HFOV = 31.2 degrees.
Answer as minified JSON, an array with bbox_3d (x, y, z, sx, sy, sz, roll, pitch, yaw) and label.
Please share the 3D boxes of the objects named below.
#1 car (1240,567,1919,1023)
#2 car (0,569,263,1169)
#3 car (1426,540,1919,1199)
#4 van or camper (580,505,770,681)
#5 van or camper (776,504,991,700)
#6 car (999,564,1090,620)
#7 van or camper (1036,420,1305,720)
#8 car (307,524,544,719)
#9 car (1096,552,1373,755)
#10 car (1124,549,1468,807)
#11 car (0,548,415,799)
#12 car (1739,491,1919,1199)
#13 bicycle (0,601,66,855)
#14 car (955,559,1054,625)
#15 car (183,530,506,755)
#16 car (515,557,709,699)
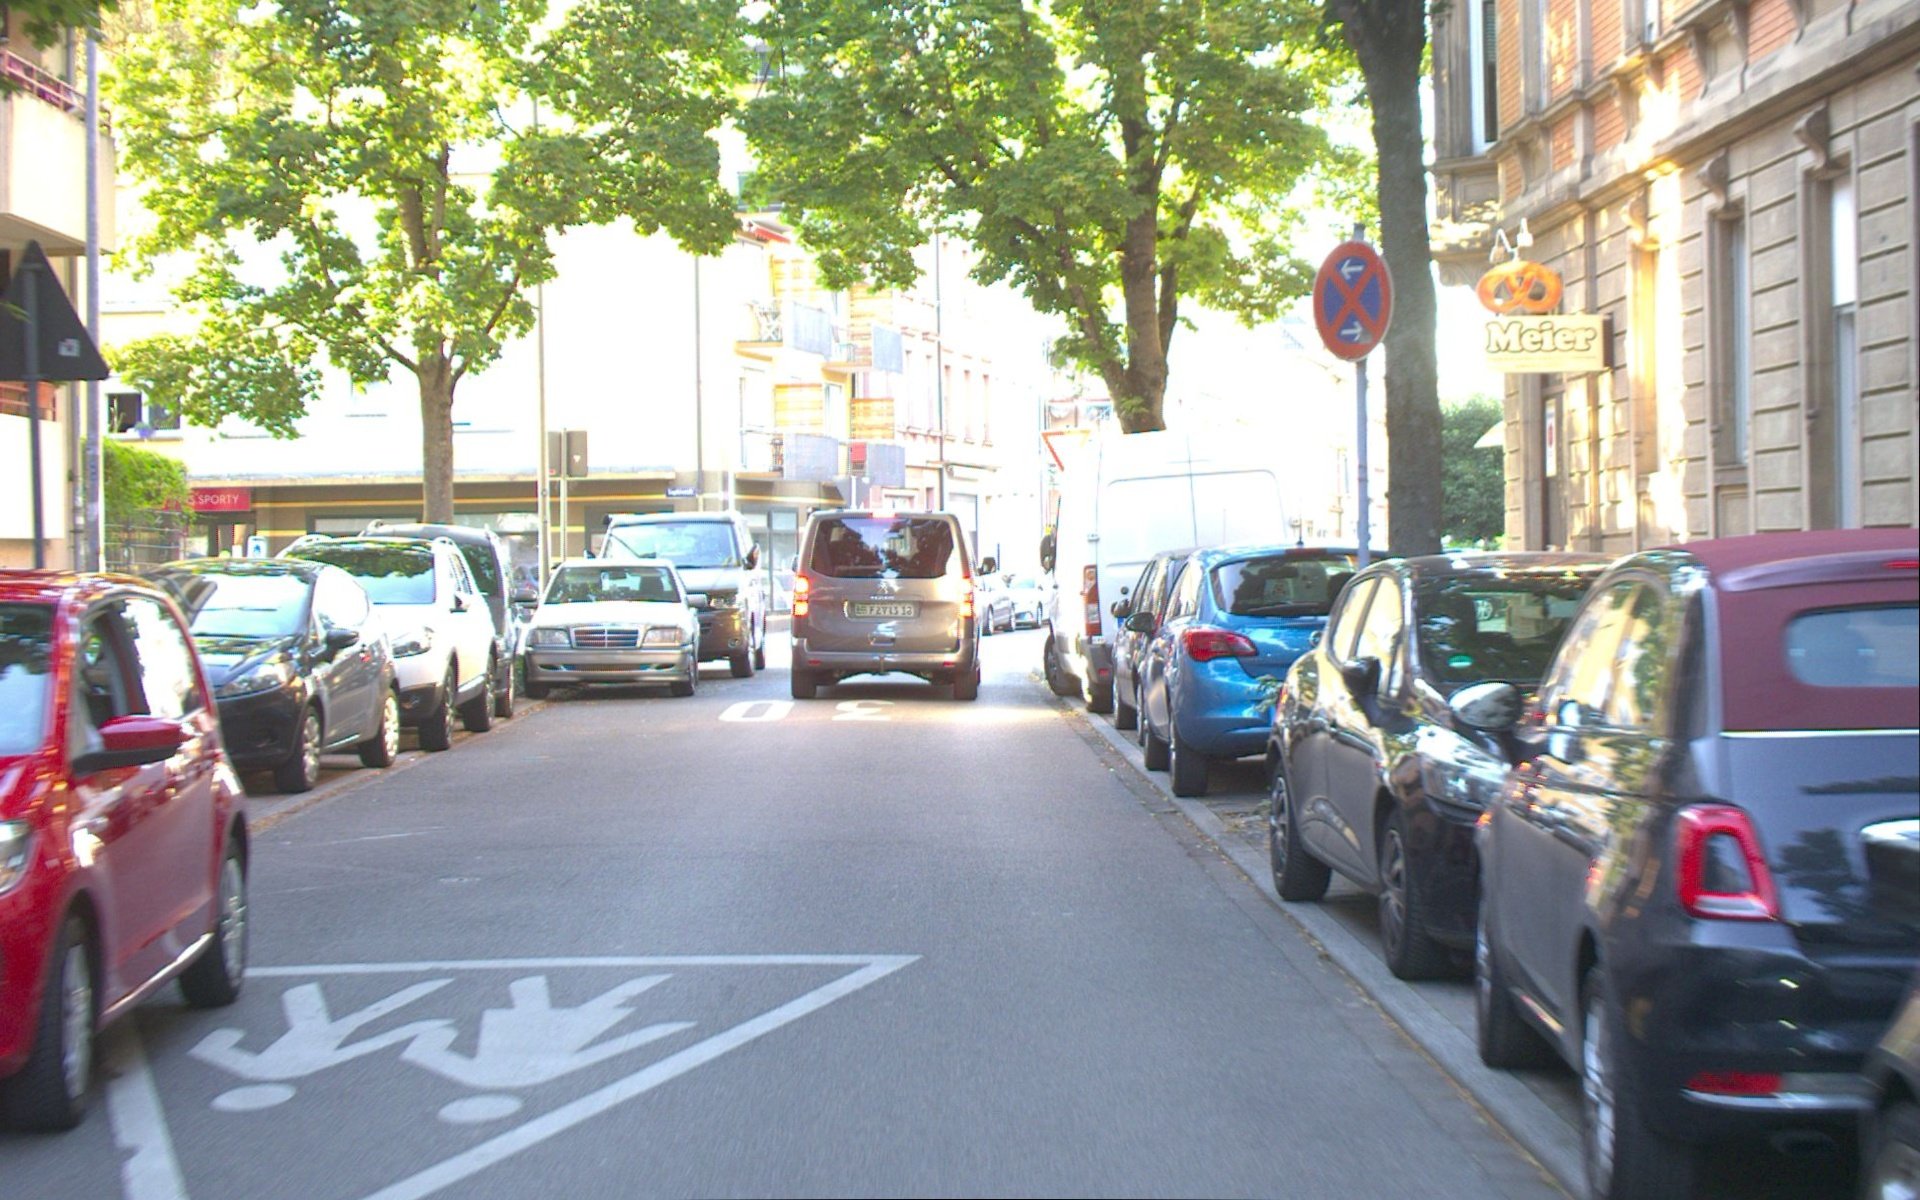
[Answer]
[{"bbox_3d":[2.167,0.590,12.685,1.715,1.398,3.814,-1,1,-4],"label":"car"},{"bbox_3d":[-3.153,0.641,9.977,1.630,1.425,3.543,-1,1,-2],"label":"car"},{"bbox_3d":[2.131,0.606,8.598,1.551,1.491,3.610,0,1,2],"label":"car"},{"bbox_3d":[-3.371,-0.109,41.335,1.862,1.976,4.271,-1,1,1],"label":"van or camper"},{"bbox_3d":[-0.724,-0.008,35.416,2.035,1.891,4.271,0,1,1],"label":"van or camper"},{"bbox_3d":[2.229,-0.215,89.794,1.796,1.415,3.746,0,1,11],"label":"car"},{"bbox_3d":[1.878,-0.292,32.382,1.993,2.590,5.425,0,1,-2],"label":"van or camper"},{"bbox_3d":[-4.995,0.167,32.494,1.741,1.706,3.375,1,1,-1],"label":"car"},{"bbox_3d":[2.053,0.360,26.664,1.750,1.466,3.776,0,1,-2],"label":"car"},{"bbox_3d":[1.999,0.419,21.408,1.750,1.466,3.776,0,1,0],"label":"car"},{"bbox_3d":[-4.889,0.420,22.836,1.740,1.479,3.839,1,1,3],"label":"car"},{"bbox_3d":[2.314,0.609,4.383,1.611,1.553,3.766,-1,1,-3],"label":"car"},{"bbox_3d":[-5.196,0.606,16.197,0.604,1.191,1.824,3,2,44],"label":"bicycle"},{"bbox_3d":[1.115,-0.214,84.168,1.796,1.573,3.746,0,1,11],"label":"car"},{"bbox_3d":[-4.855,0.289,27.670,1.897,1.631,4.156,1,1,-1],"label":"car"},{"bbox_3d":[-3.621,0.261,36.234,1.741,1.399,3.375,-1,1,-1],"label":"car"}]
